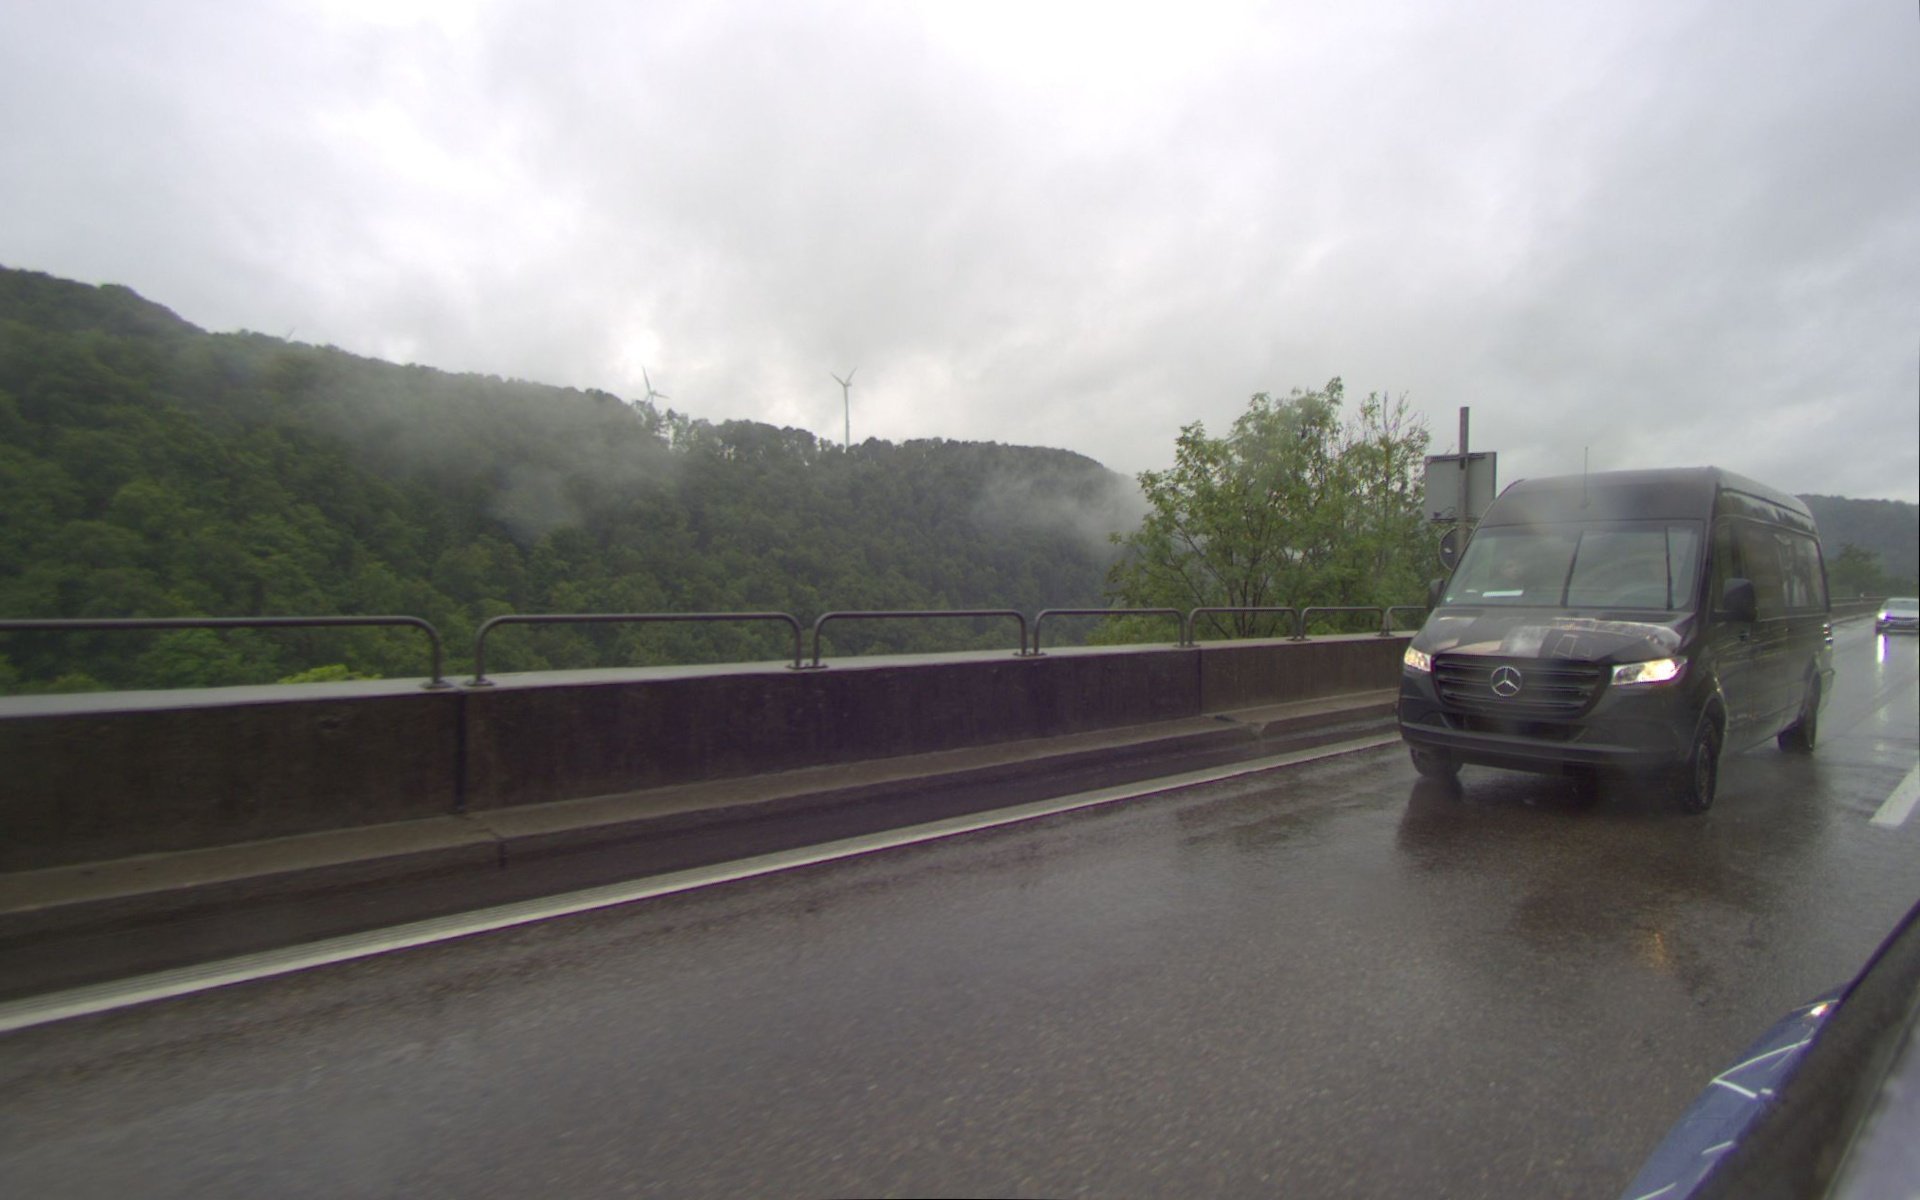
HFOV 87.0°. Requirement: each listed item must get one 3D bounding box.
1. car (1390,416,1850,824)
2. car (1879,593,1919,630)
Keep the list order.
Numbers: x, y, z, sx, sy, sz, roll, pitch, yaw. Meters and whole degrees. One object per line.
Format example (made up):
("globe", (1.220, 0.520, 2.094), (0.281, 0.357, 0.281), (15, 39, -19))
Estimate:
("car", (6.370, 0.098, 9.245), (6.591, 2.526, 1.996), (0, 0, -43))
("car", (41.510, 0.491, 43.925), (4.487, 1.432, 1.989), (0, 4, -43))
